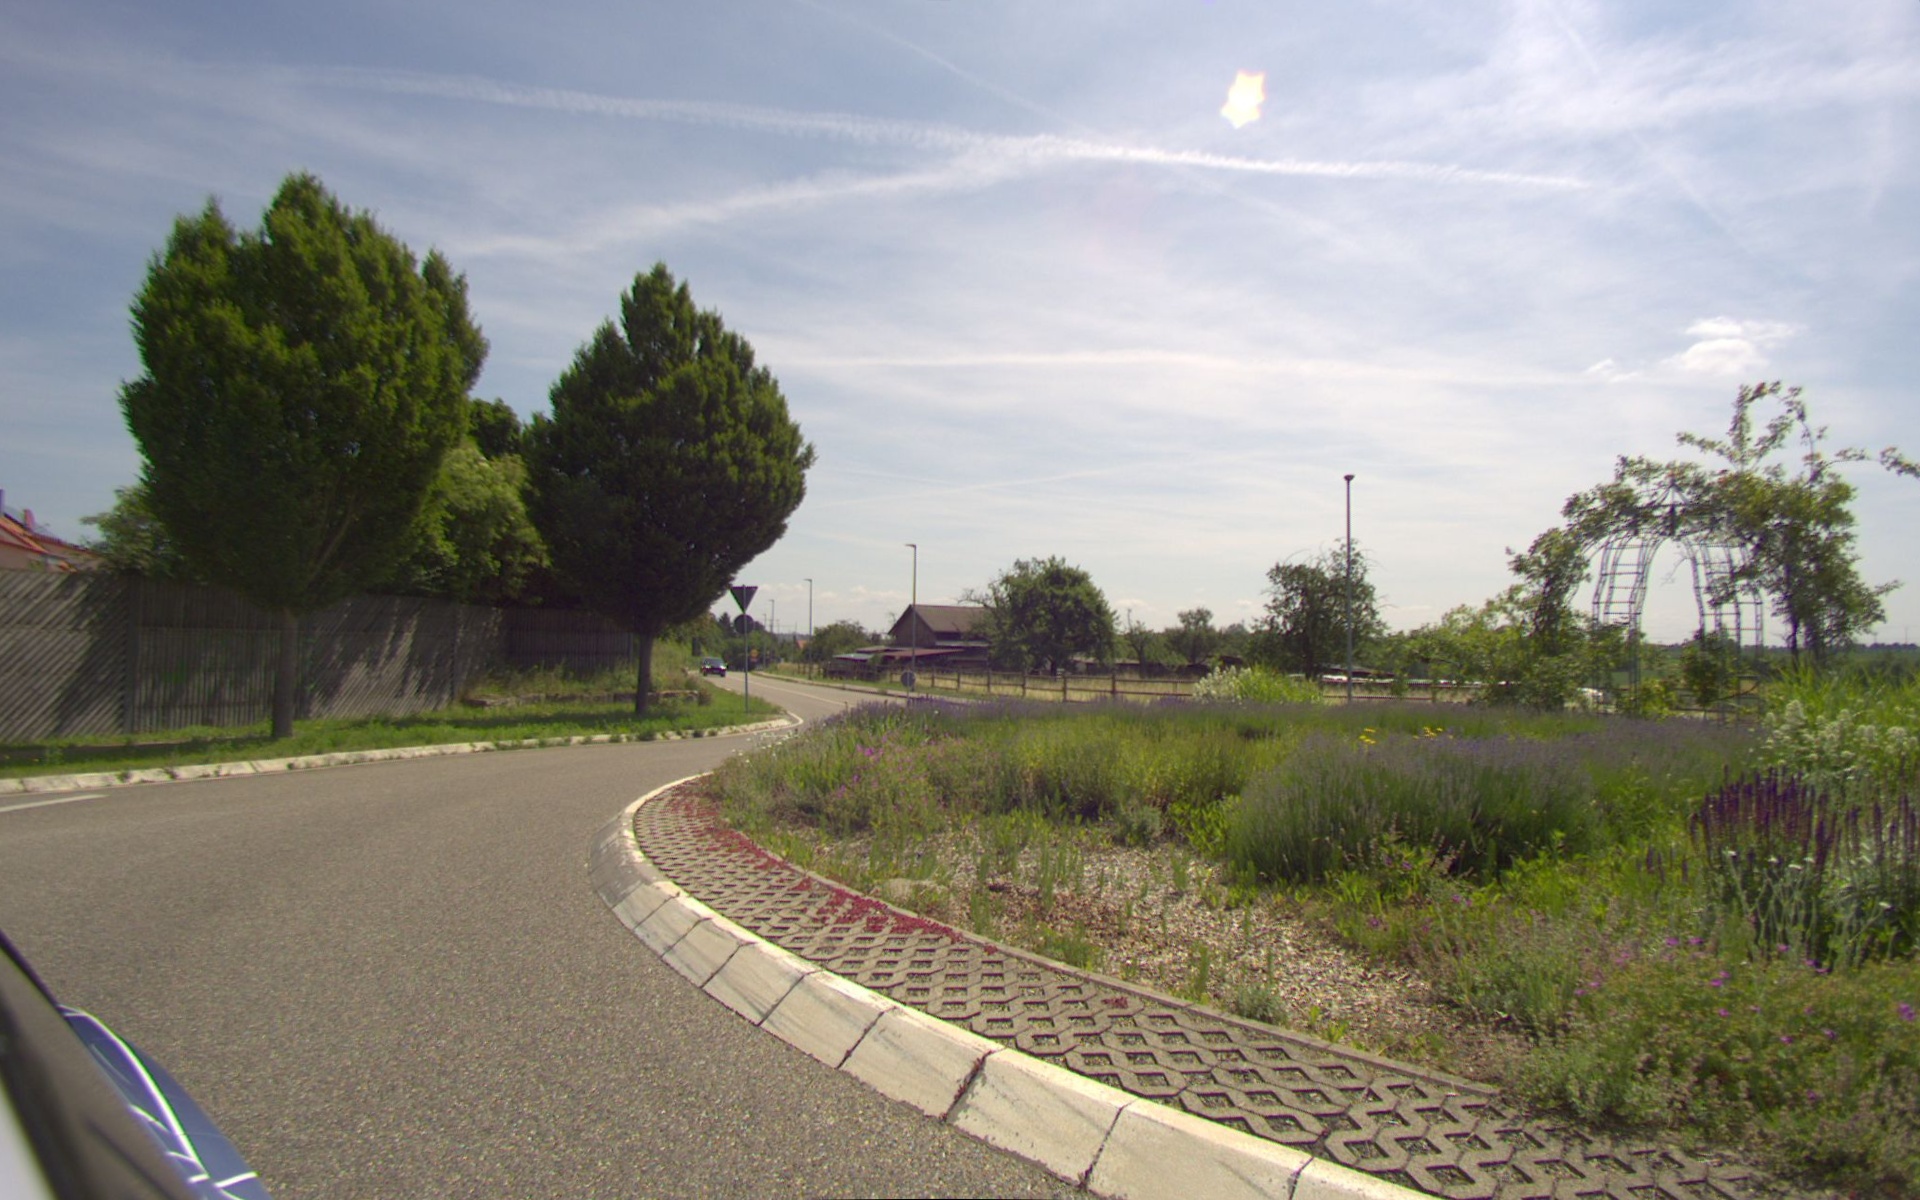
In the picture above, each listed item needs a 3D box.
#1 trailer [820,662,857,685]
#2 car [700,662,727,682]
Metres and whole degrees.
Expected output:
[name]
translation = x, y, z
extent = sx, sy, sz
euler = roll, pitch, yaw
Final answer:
[trailer]
translation = -10.277, 6.158, 85.109
extent = 2.125, 1.716, 5.044
euler = 4, -4, -17
[car]
translation = -21.845, 6.344, 89.565
extent = 1.588, 1.626, 4.235
euler = 4, -4, -21
